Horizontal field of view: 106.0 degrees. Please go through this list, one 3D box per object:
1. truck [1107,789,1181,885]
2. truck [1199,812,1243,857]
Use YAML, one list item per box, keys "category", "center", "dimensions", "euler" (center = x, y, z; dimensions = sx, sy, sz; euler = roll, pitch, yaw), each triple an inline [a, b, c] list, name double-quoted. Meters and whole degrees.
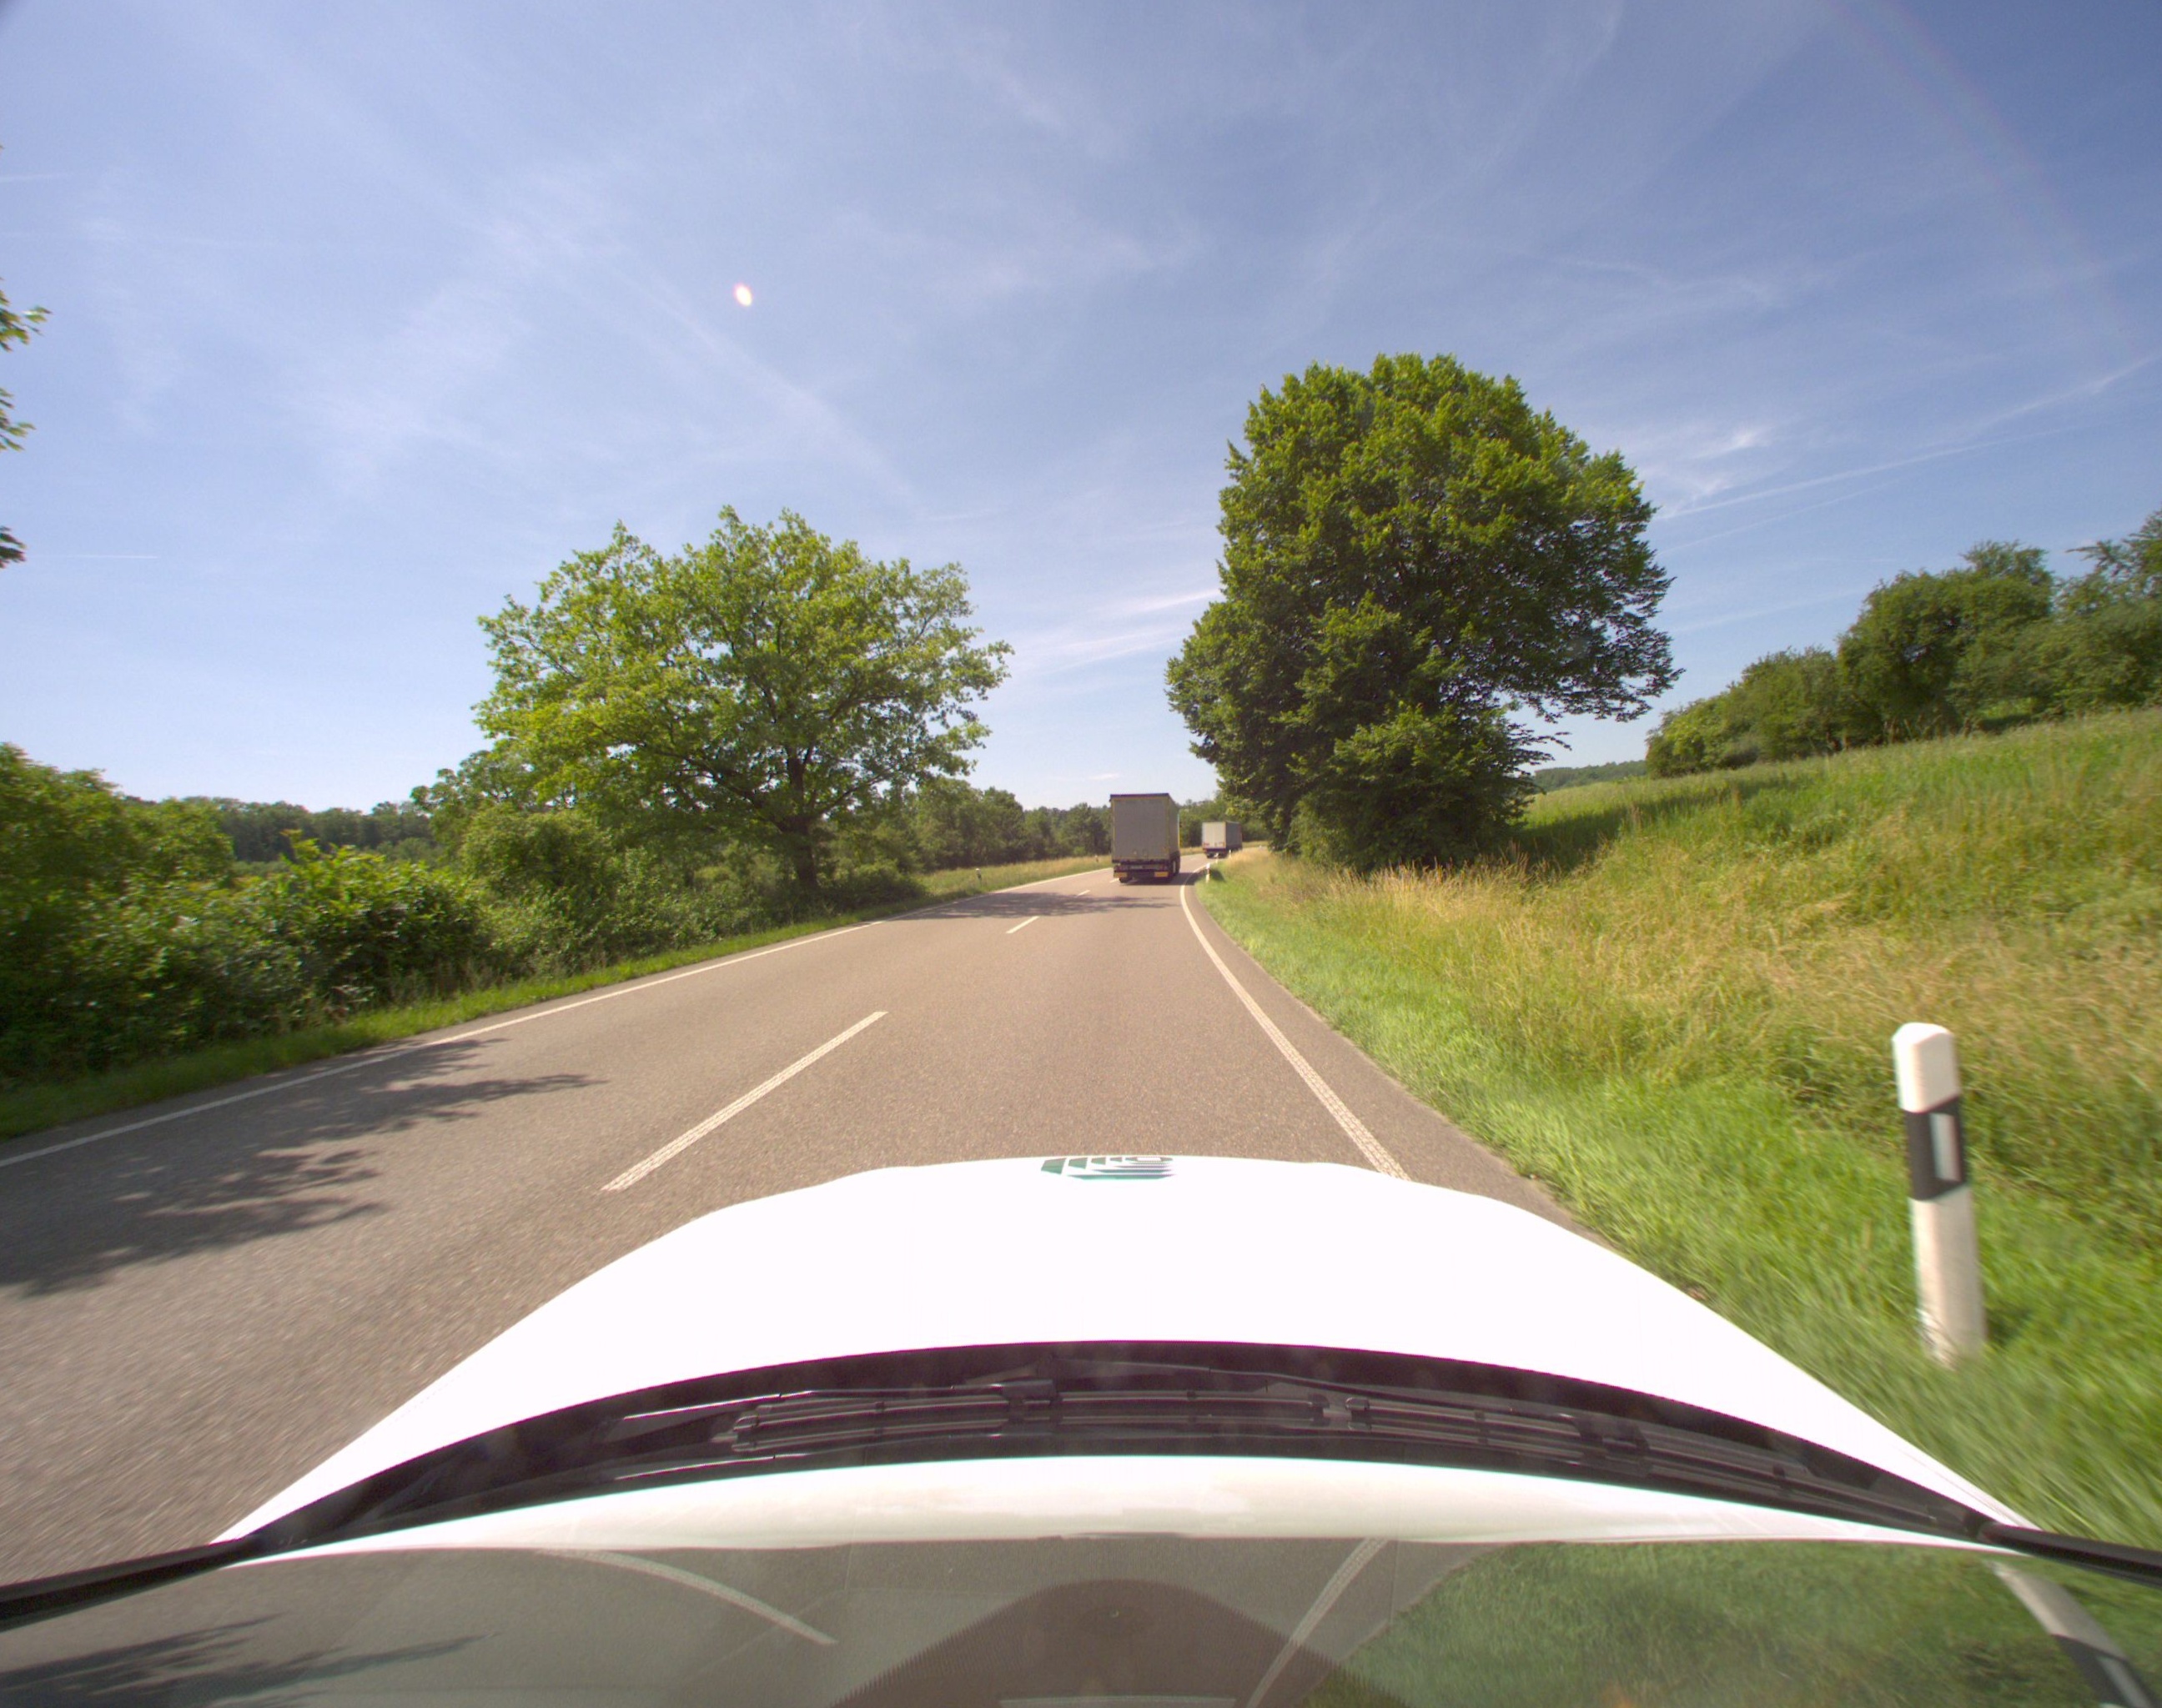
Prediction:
- category: "truck"
  center: [3.633, -0.791, 42.628]
  dimensions: [2.786, 4.068, 15.361]
  euler: [-1, 0, 8]
- category: "truck"
  center: [16.422, -2.161, 94.152]
  dimensions: [3.081, 4.705, 16.660]
  euler: [-2, 0, 16]
